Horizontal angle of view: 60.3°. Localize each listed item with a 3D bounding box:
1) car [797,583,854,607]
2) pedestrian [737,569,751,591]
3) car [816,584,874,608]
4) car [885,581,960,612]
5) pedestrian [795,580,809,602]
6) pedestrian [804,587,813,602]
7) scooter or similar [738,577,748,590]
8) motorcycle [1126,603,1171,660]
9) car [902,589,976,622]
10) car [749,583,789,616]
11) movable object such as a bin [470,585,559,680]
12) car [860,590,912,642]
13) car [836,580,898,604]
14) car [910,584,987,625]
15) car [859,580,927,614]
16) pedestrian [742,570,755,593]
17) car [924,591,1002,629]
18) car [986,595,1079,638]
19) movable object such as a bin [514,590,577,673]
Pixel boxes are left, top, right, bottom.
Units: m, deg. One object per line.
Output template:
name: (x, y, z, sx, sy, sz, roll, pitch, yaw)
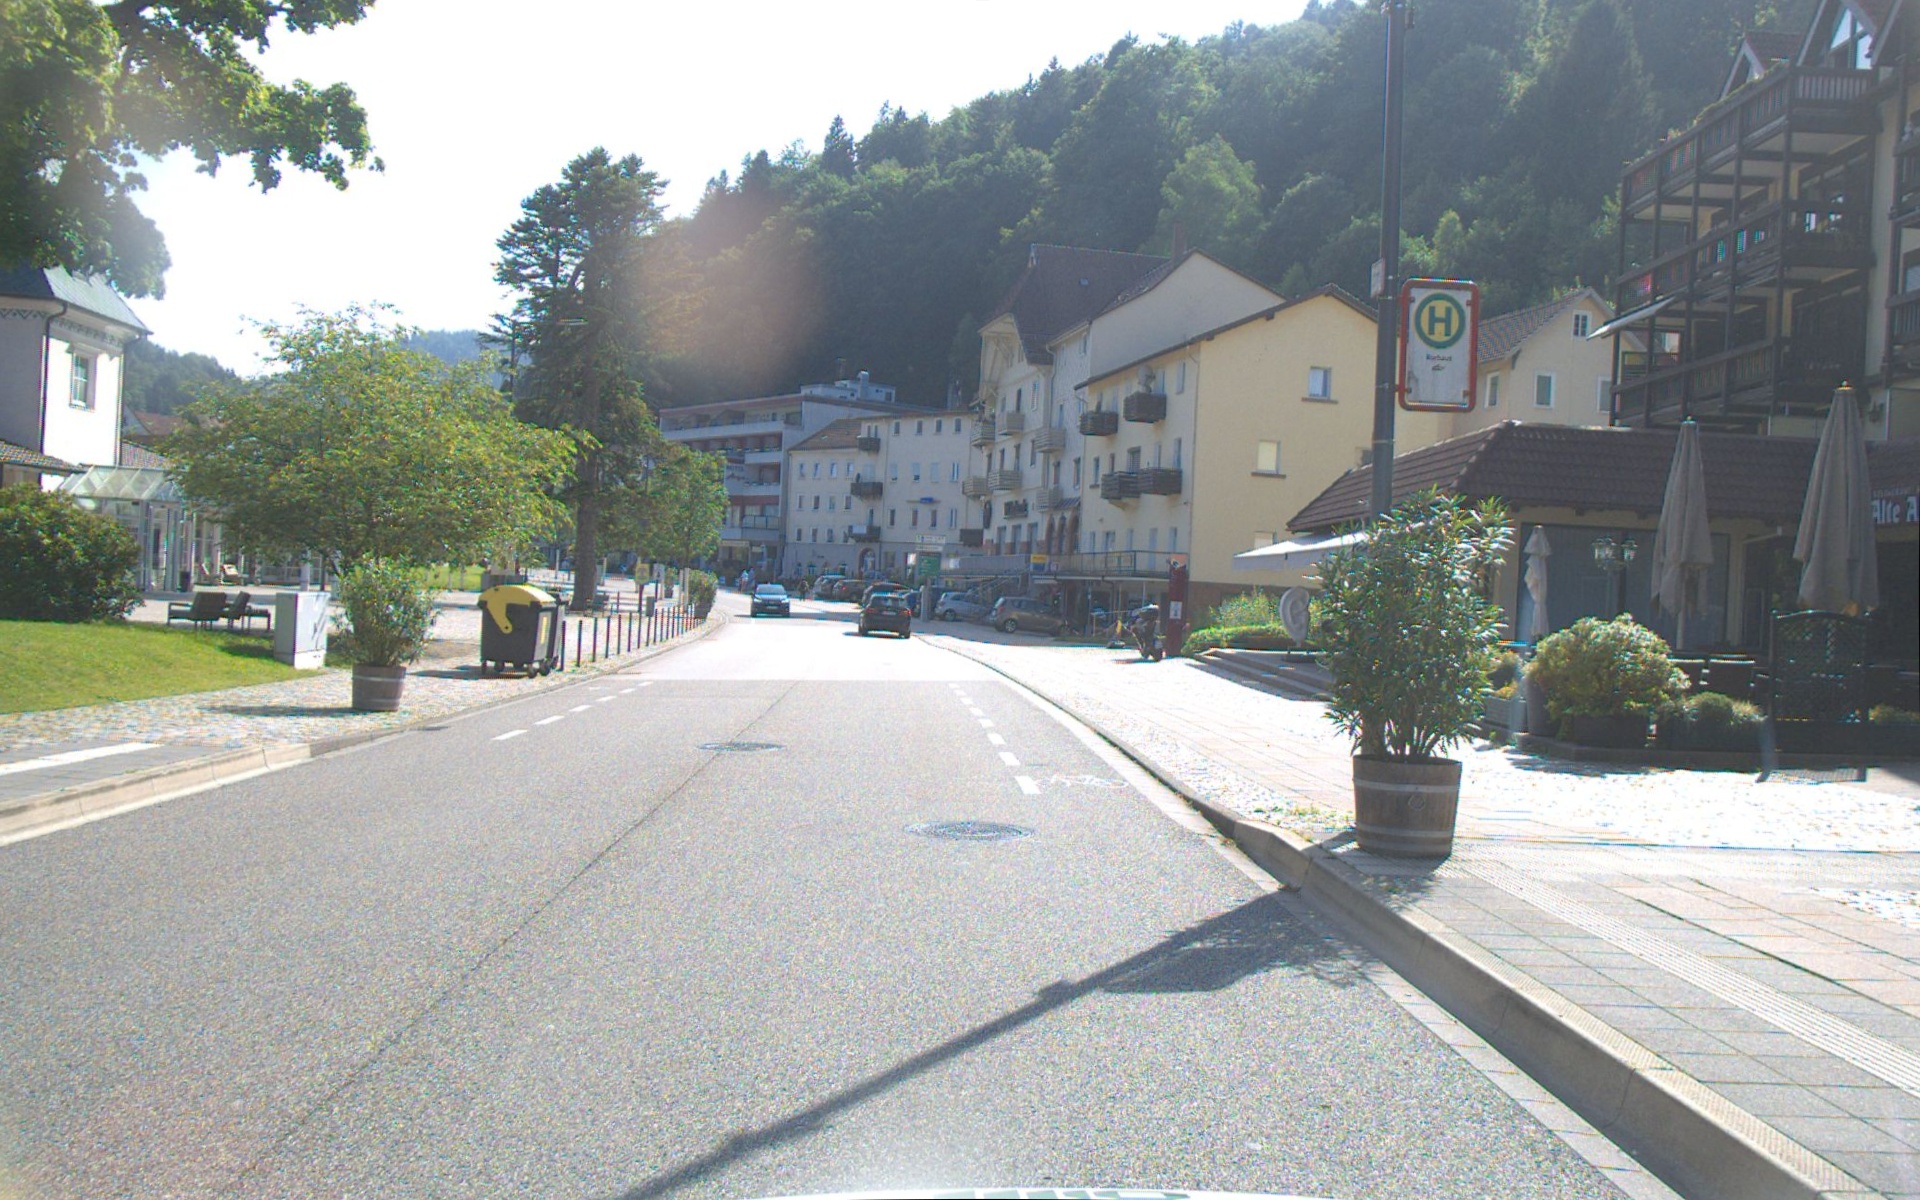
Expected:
car: (-9.946, -0.363, 122.273, 3.822, 1.640, 1.755, 0, 3, -31)
pedestrian: (-17.018, -1.588, 130.332, 0.750, 1.621, 0.621, 3, 0, -33)
car: (-8.313, -0.294, 119.670, 3.822, 1.576, 1.755, 0, 3, -31)
car: (-2.293, -0.201, 99.862, 4.276, 1.486, 1.769, 5, -1, -9)
pedestrian: (-10.954, -0.633, 114.410, 0.729, 1.467, 0.625, 1, 1, -37)
pedestrian: (-10.504, -0.384, 114.767, 0.413, 1.019, 0.525, 1, 1, -34)
scooter or similar: (-17.115, -1.308, 130.466, 0.590, 0.967, 0.469, 3, 0, -33)
motorcycle: (4.543, 0.730, 39.948, 0.683, 1.319, 2.210, 0, 0, -4)
car: (-1.197, 0.284, 93.650, 3.840, 1.486, 1.732, 5, 0, -11)
car: (-8.885, -0.033, 77.228, 1.707, 1.488, 4.183, 1, 0, -5)
movable object such as a bin: (-7.335, 0.522, 27.314, 1.057, 1.452, 1.376, 5, 0, -4)
car: (-2.754, 0.558, 60.767, 1.693, 1.601, 3.750, 4, 2, -4)
car: (-6.529, -0.557, 115.696, 3.969, 1.542, 1.755, 0, 3, -31)
car: (-0.647, 0.258, 90.810, 3.840, 1.835, 1.853, 6, -1, -11)
car: (-4.250, -0.206, 104.728, 4.012, 1.694, 1.768, 6, 0, -11)
pedestrian: (-16.848, -1.464, 131.591, 0.662, 1.758, 0.700, 3, 0, -33)
car: (0.150, 0.505, 88.340, 3.840, 1.616, 1.770, 6, 0, -11)
car: (3.257, 0.737, 74.834, 3.794, 1.581, 1.755, 5, 0, -13)
movable object such as a bin: (-7.317, 0.539, 29.243, 0.740, 1.364, 1.294, 4, 0, -4)
